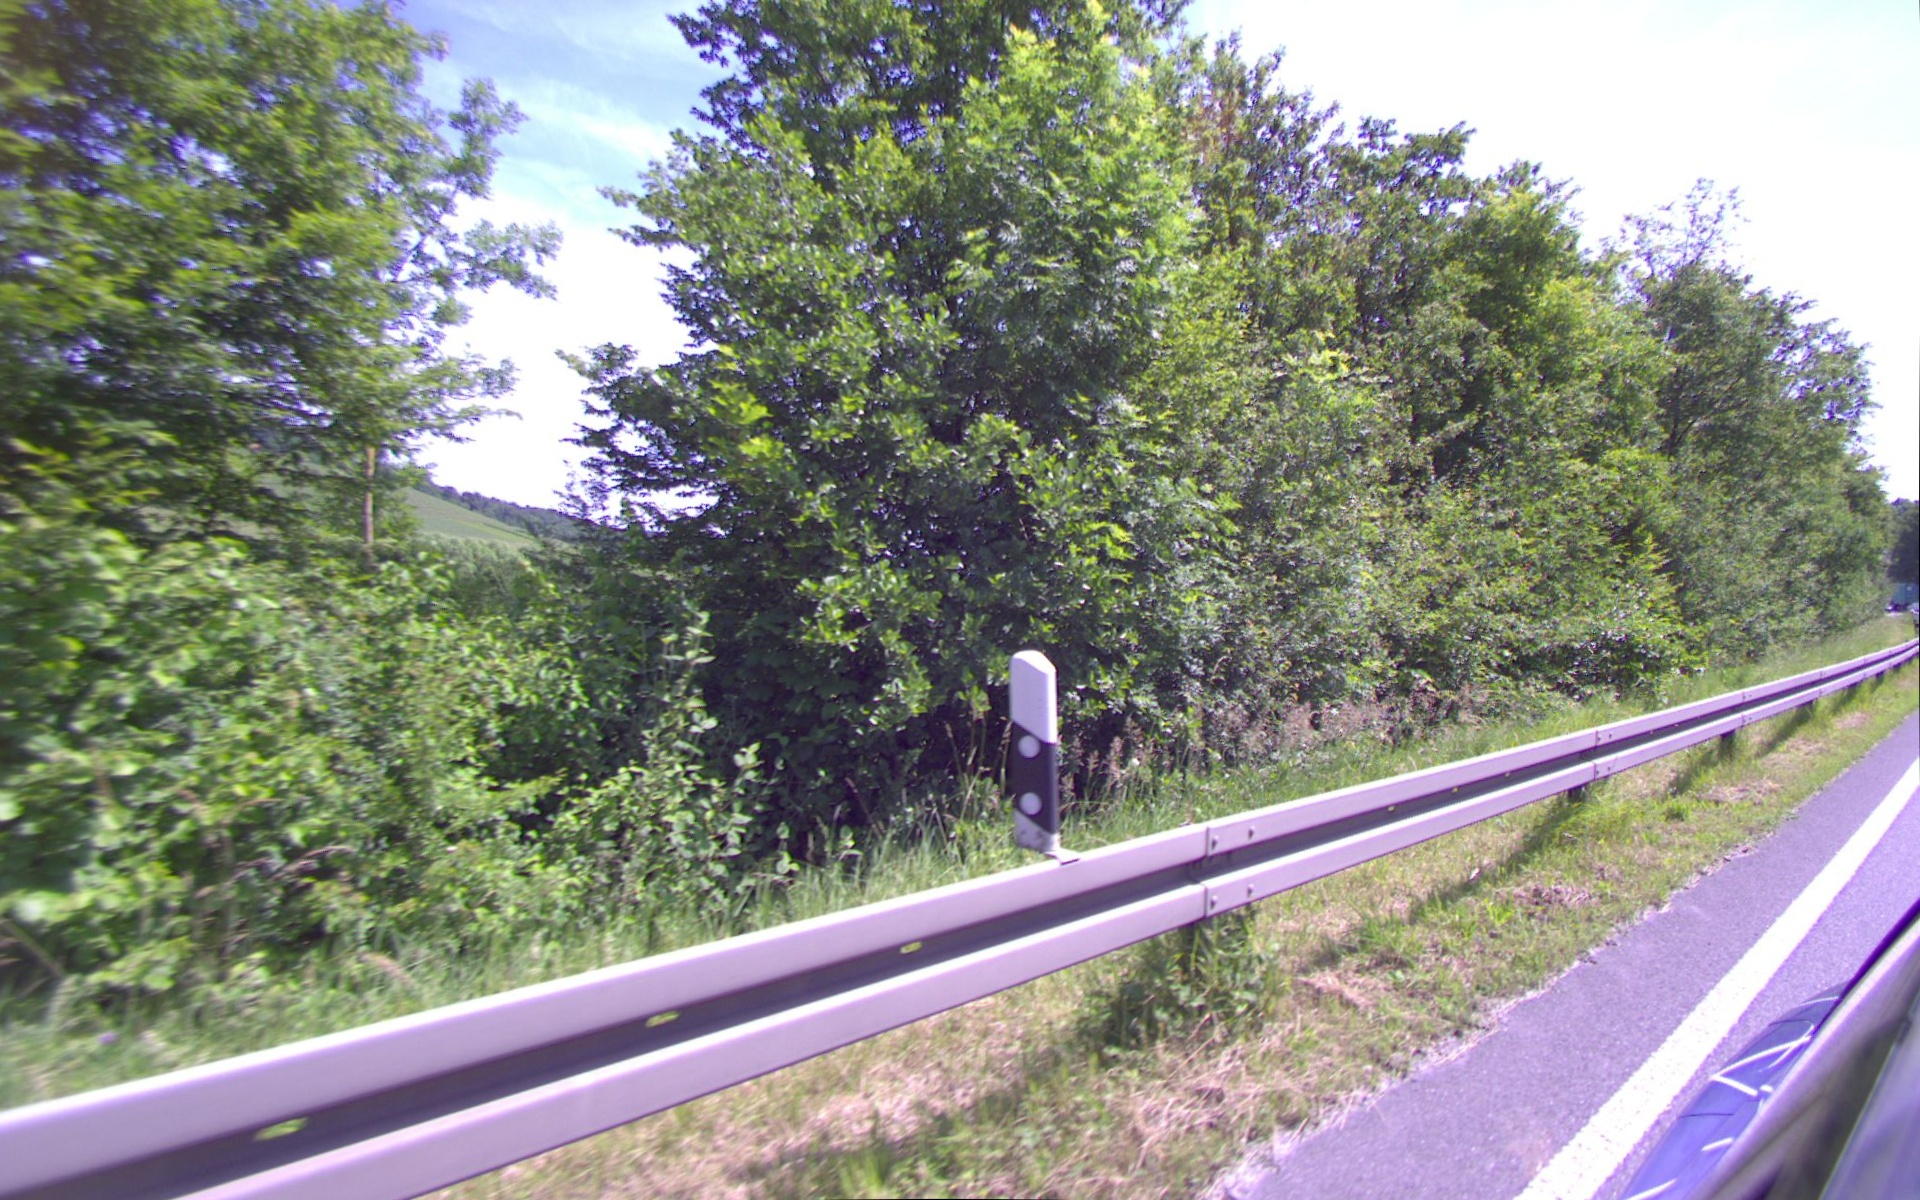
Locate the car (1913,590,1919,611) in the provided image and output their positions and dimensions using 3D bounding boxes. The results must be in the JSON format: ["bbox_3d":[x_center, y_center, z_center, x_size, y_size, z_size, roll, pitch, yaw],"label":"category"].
[{"bbox_3d":[92.793,0.029,96.844,1.991,2.039,3.942,-1,-1,40],"label":"car"}]

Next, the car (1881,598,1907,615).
[{"bbox_3d":[114.834,0.848,124.484,1.989,2.039,3.945,-1,-1,38],"label":"car"}]

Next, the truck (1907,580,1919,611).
[{"bbox_3d":[130.696,-0.533,136.911,2.555,3.990,15.931,-1,-1,39],"label":"truck"}]

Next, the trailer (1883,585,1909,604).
[{"bbox_3d":[148.448,-0.874,160.587,2.639,2.908,6.976,1,1,39],"label":"trailer"}]
